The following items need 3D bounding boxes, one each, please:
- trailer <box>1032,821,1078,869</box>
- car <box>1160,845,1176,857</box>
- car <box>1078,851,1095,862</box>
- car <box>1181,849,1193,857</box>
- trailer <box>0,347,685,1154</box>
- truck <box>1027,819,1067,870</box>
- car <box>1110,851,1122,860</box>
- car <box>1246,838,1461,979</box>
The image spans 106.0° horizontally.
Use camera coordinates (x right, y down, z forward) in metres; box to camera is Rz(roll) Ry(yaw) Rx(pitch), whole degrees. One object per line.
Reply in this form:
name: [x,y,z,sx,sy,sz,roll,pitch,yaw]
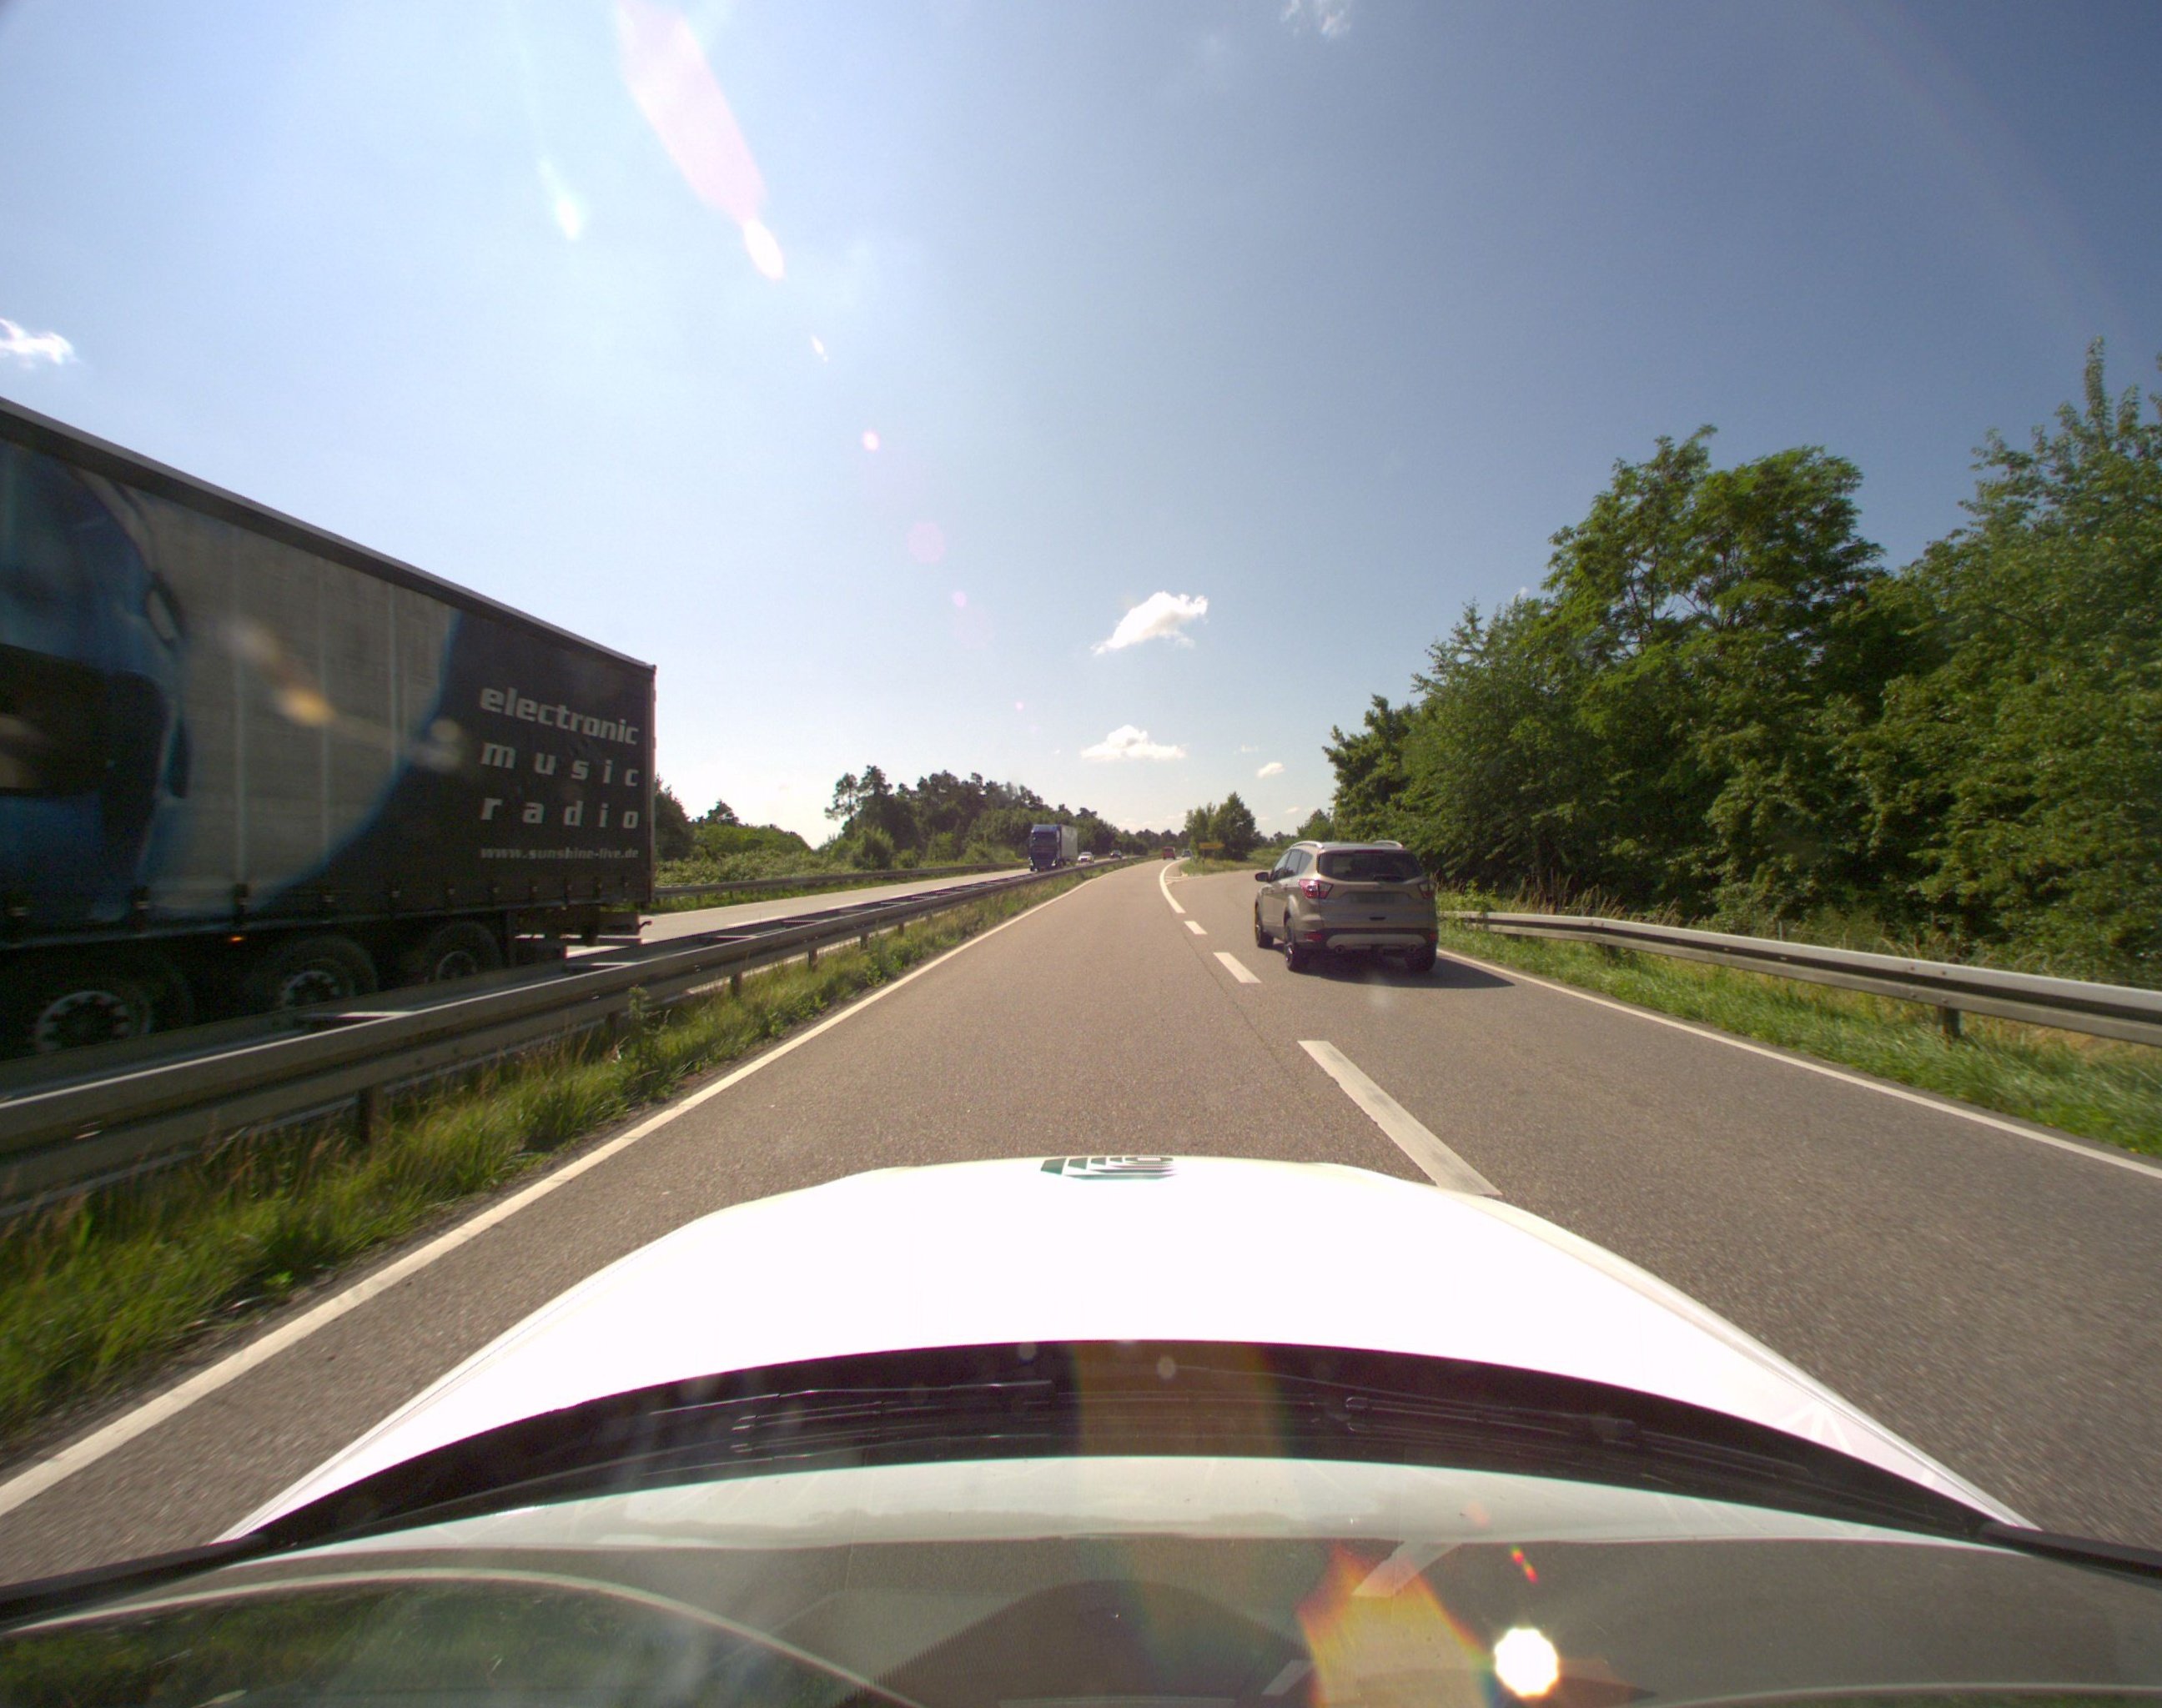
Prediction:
trailer: [-2.302,-0.780,78.231,2.733,4.172,14.602,-1,0,5]
car: [13.859,-0.454,129.898,2.064,1.993,5.126,-1,-1,11]
car: [0.721,0.305,111.037,1.784,1.444,4.615,-1,0,7]
car: [20.341,-0.097,155.890,1.994,1.494,4.251,-1,-1,11]
trailer: [-6.944,-0.529,3.834,2.657,4.188,14.073,-1,0,3]
truck: [-2.878,-0.798,71.363,2.754,4.187,5.605,-1,0,5]
car: [6.271,0.272,146.181,1.746,1.501,4.582,-1,0,7]
car: [3.722,0.638,12.050,1.886,1.666,4.671,-1,0,4]
